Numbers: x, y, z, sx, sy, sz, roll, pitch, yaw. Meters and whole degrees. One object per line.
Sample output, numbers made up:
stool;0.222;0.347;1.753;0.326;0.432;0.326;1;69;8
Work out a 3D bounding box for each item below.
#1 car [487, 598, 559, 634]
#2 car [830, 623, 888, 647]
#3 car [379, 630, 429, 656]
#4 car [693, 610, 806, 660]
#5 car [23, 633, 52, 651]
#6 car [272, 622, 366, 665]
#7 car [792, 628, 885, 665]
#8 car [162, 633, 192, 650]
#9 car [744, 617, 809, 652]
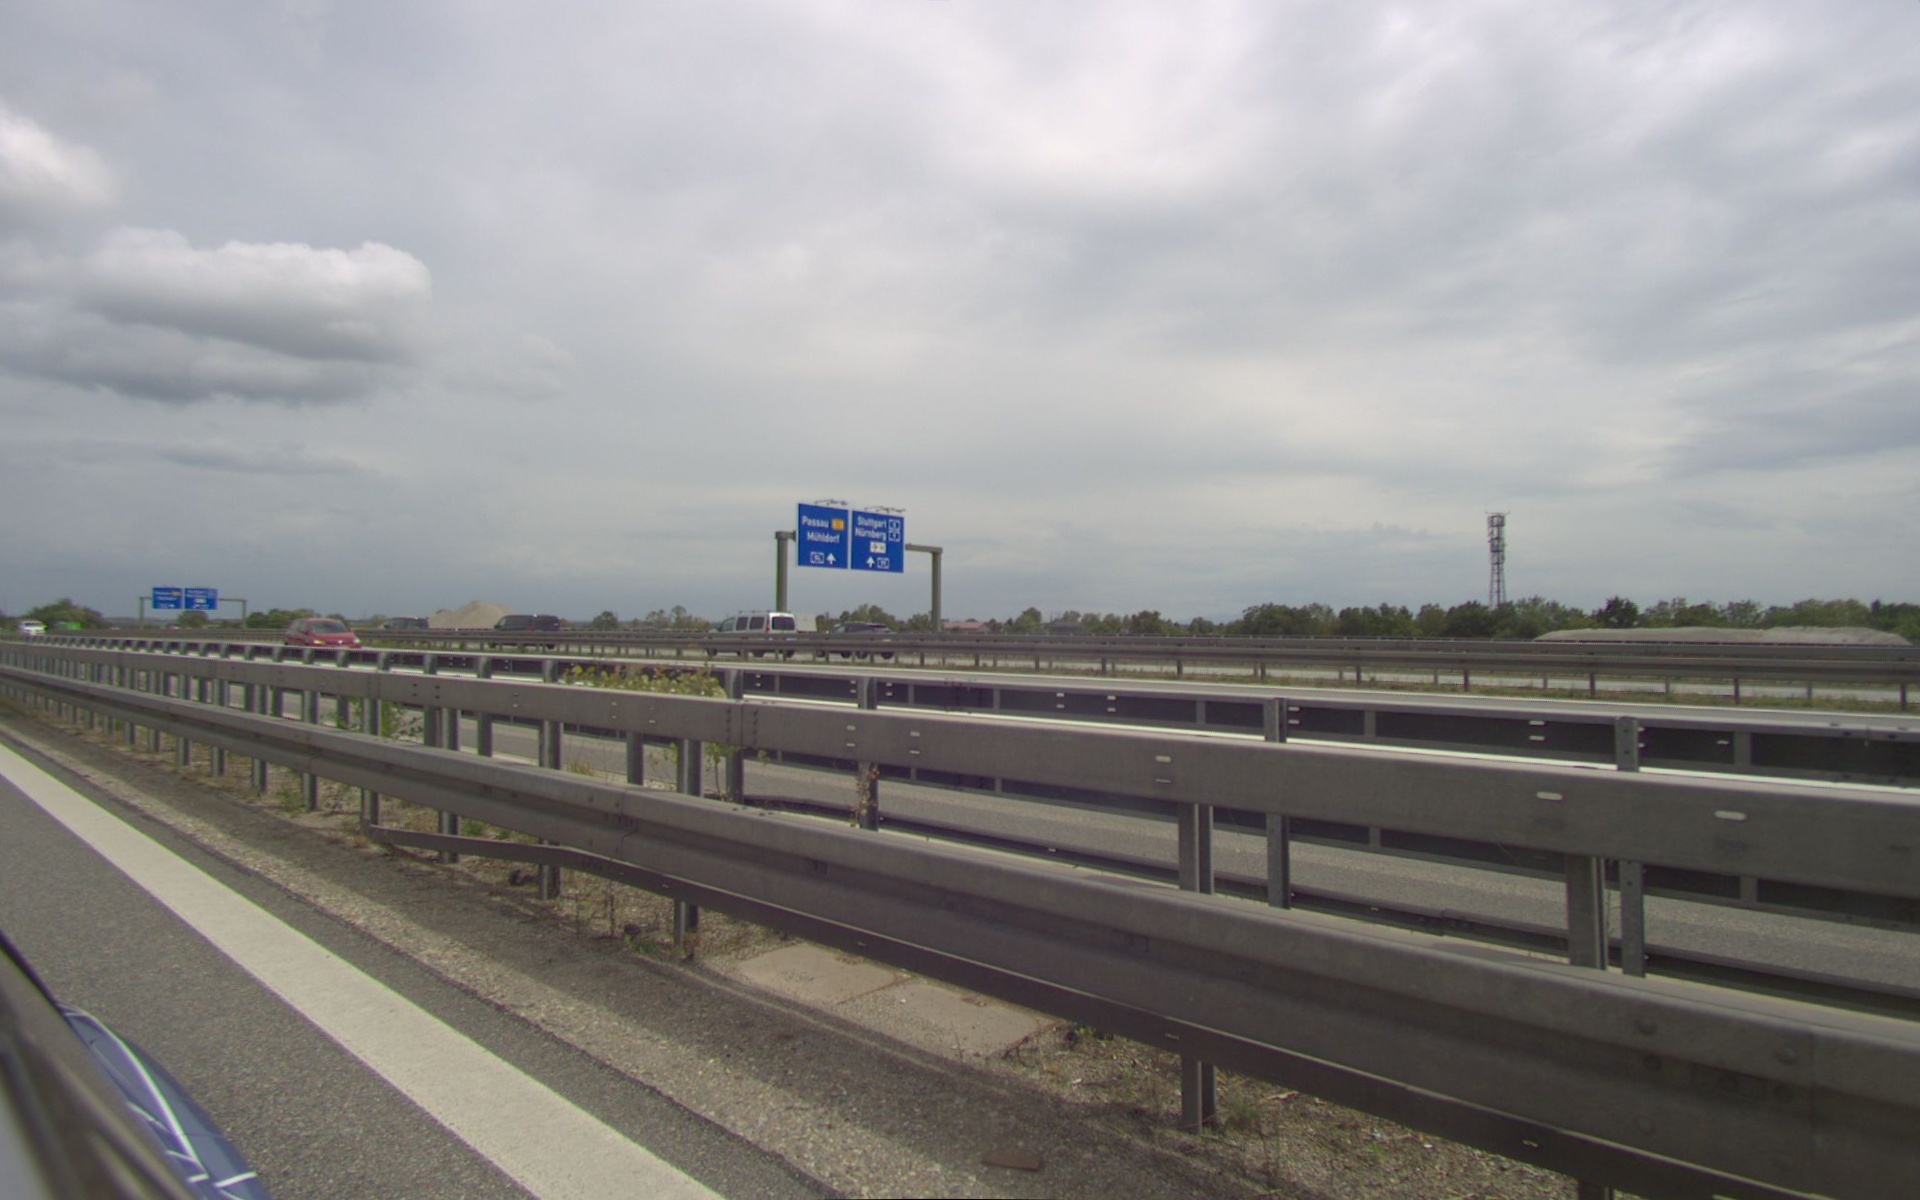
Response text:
car;-23.637;0.865;54.626;4.901;1.821;1.723;-1;1;43
car;-6.954;2.386;69.375;3.908;1.506;1.649;-1;2;41
car;-41.521;3.213;75.580;4.220;1.829;1.887;-2;0;41
car;-8.607;1.410;41.139;4.820;1.807;1.891;-2;2;41
car;-106.017;4.819;116.251;4.463;2.029;1.973;-2;-1;41
car;-24.693;1.666;38.912;4.350;1.557;1.801;-2;-1;40
car;-5.198;1.944;42.914;3.998;1.444;1.637;-2;0;41
car;-83.956;4.468;108.497;4.000;1.807;1.889;-3;-2;43
car;-12.581;2.357;69.296;4.487;2.323;1.973;-2;-1;41
